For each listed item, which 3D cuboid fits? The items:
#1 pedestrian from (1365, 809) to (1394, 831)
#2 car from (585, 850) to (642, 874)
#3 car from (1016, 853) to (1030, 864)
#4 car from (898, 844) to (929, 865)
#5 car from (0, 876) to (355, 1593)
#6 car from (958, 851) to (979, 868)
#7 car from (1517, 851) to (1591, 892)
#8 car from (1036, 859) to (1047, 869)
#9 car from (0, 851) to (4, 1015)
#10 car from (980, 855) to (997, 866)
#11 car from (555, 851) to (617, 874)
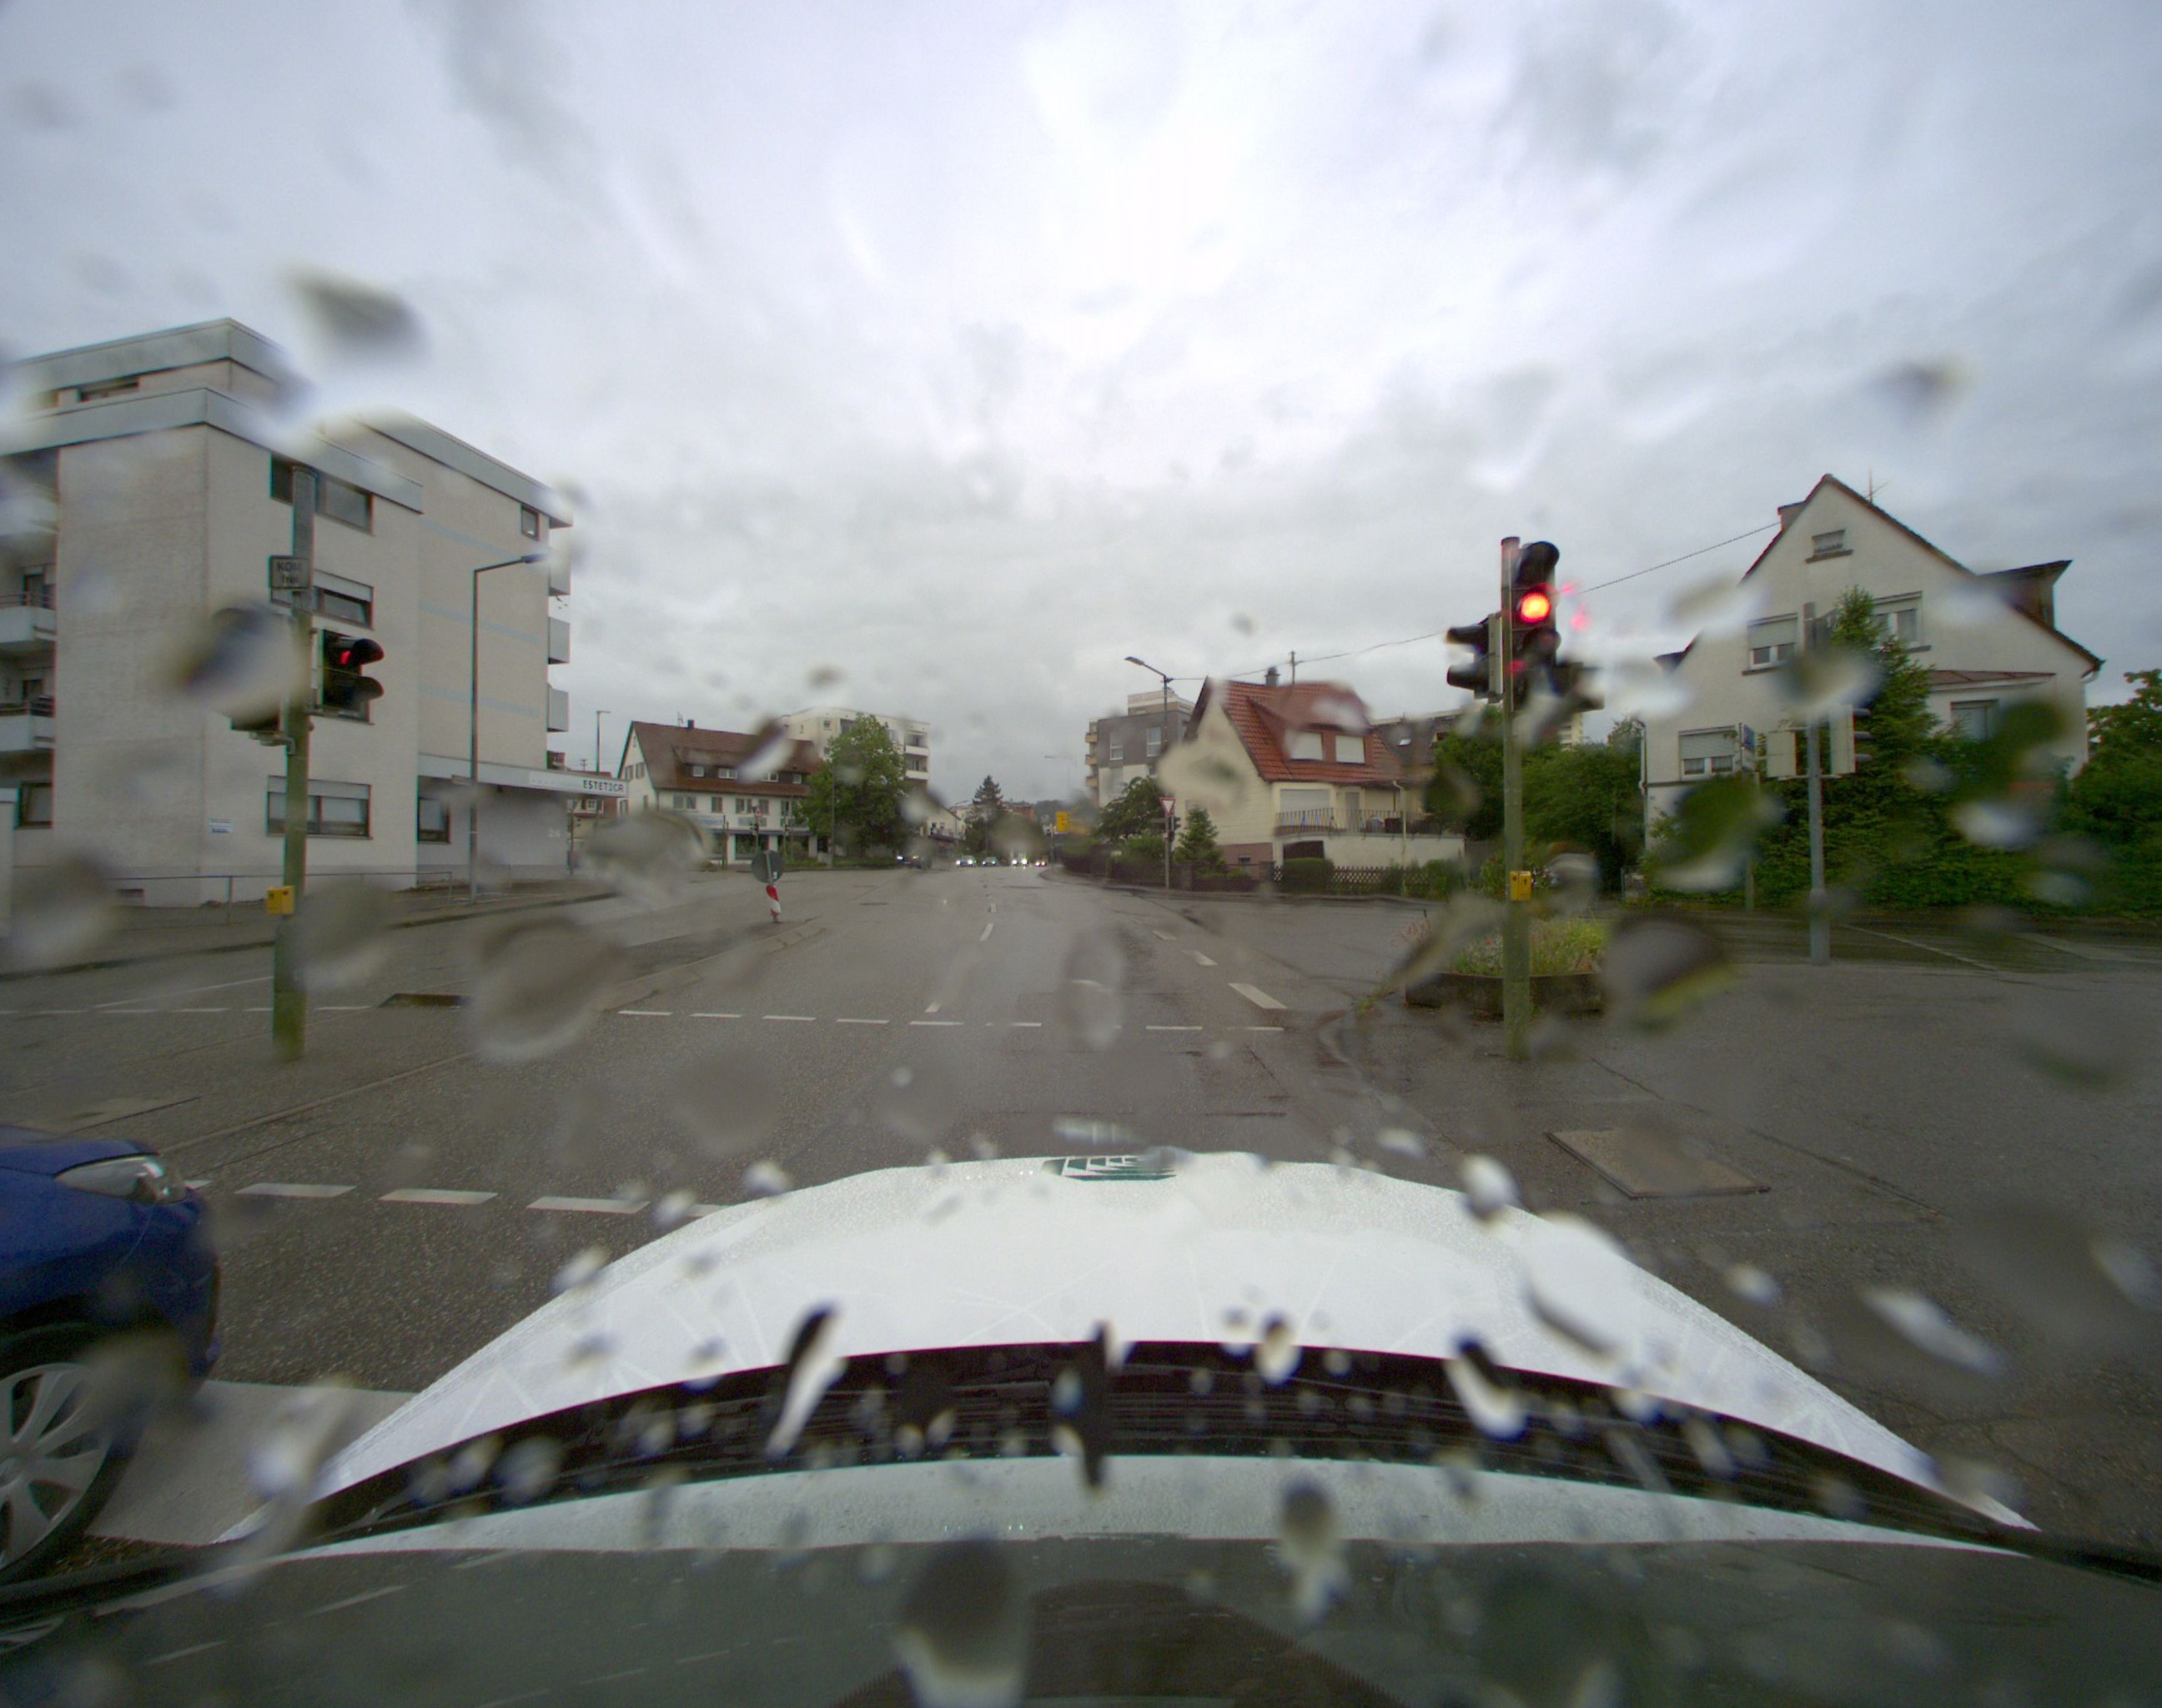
[{"bbox_3d":[12.774,-1.433,34.860,0.918,0.883,0.632,0,-3,-18],"label":"pedestrian"},{"bbox_3d":[-38.439,0.634,66.982,3.706,1.920,1.864,0,-1,-44],"label":"car"},{"bbox_3d":[-8.757,0.683,123.942,1.989,1.679,3.996,0,-1,-3],"label":"car"},{"bbox_3d":[-14.144,0.063,69.026,1.990,1.737,5.173,0,0,-4],"label":"car"},{"bbox_3d":[-2.947,0.783,0.729,1.499,1.413,3.365,0,0,2],"label":"car"},{"bbox_3d":[-12.886,0.690,93.745,1.989,1.904,3.996,0,-1,-3],"label":"car"},{"bbox_3d":[17.115,0.598,29.375,1.794,1.362,4.025,-1,-1,37],"label":"car"},{"bbox_3d":[-7.871,1.982,162.659,1.989,1.812,3.996,0,-1,-3],"label":"car"},{"bbox_3d":[-10.938,0.726,5.456,1.874,1.597,4.182,-1,0,-2],"label":"car"},{"bbox_3d":[-13.023,0.947,114.798,1.989,1.463,3.996,0,-1,-3],"label":"car"},{"bbox_3d":[-41.213,0.674,67.805,4.093,1.843,1.864,0,-1,-44],"label":"car"}]
